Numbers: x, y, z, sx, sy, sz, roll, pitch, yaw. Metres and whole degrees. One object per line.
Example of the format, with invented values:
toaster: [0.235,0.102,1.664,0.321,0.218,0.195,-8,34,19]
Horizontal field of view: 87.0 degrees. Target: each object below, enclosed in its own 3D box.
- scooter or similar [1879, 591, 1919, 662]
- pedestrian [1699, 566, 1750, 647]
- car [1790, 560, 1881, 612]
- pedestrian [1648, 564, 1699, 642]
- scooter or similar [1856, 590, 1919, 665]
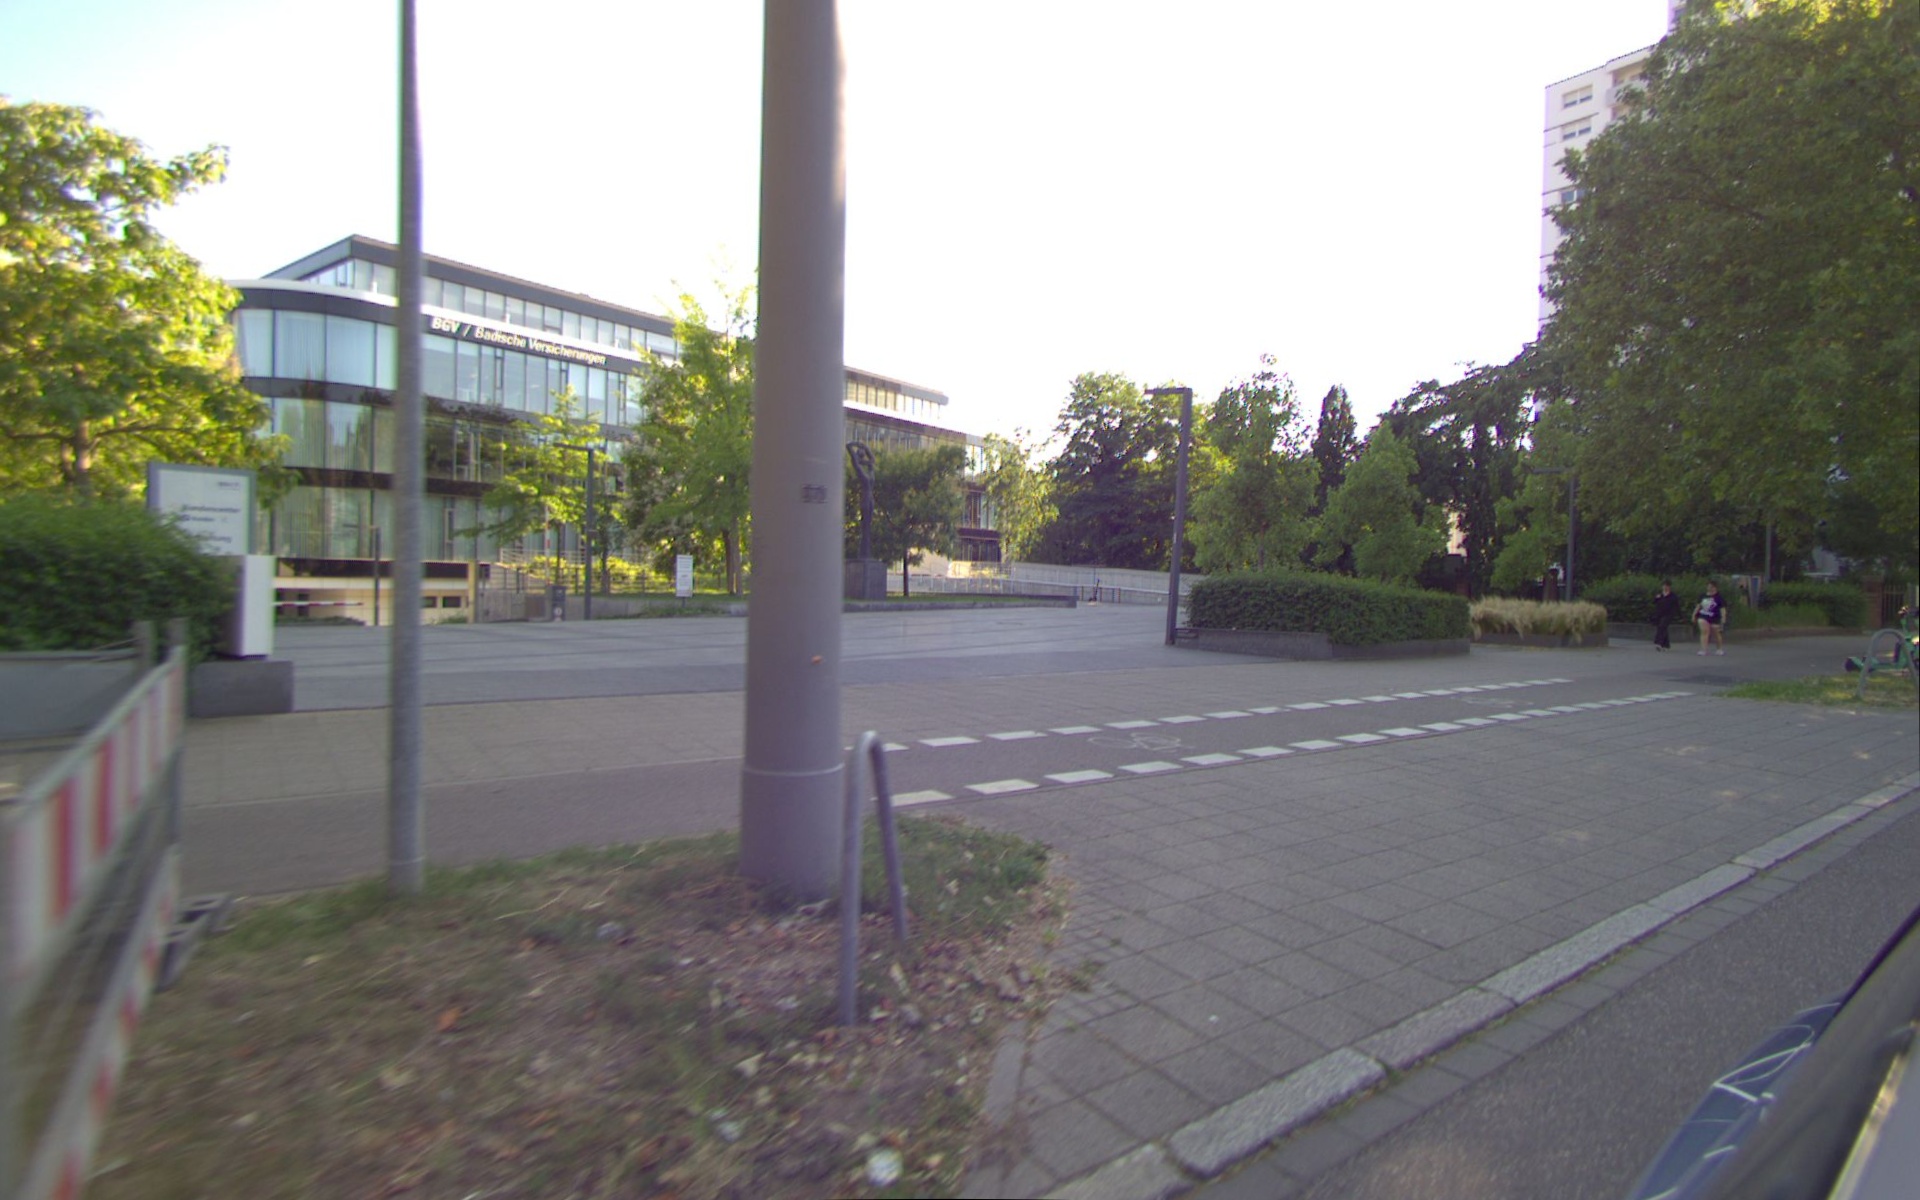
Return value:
scooter or similar: [17.603,0.483,18.437,0.825,1.259,1.056,0,2,-34]
pedestrian: [16.352,0.126,21.646,0.726,1.677,0.630,0,2,-36]
car: [45.106,-0.717,52.070,6.224,2.531,2.000,0,0,-34]
pedestrian: [15.835,0.054,22.455,0.768,1.677,0.652,0,2,-36]
scooter or similar: [16.814,0.476,18.036,0.825,1.259,1.056,0,2,-34]
